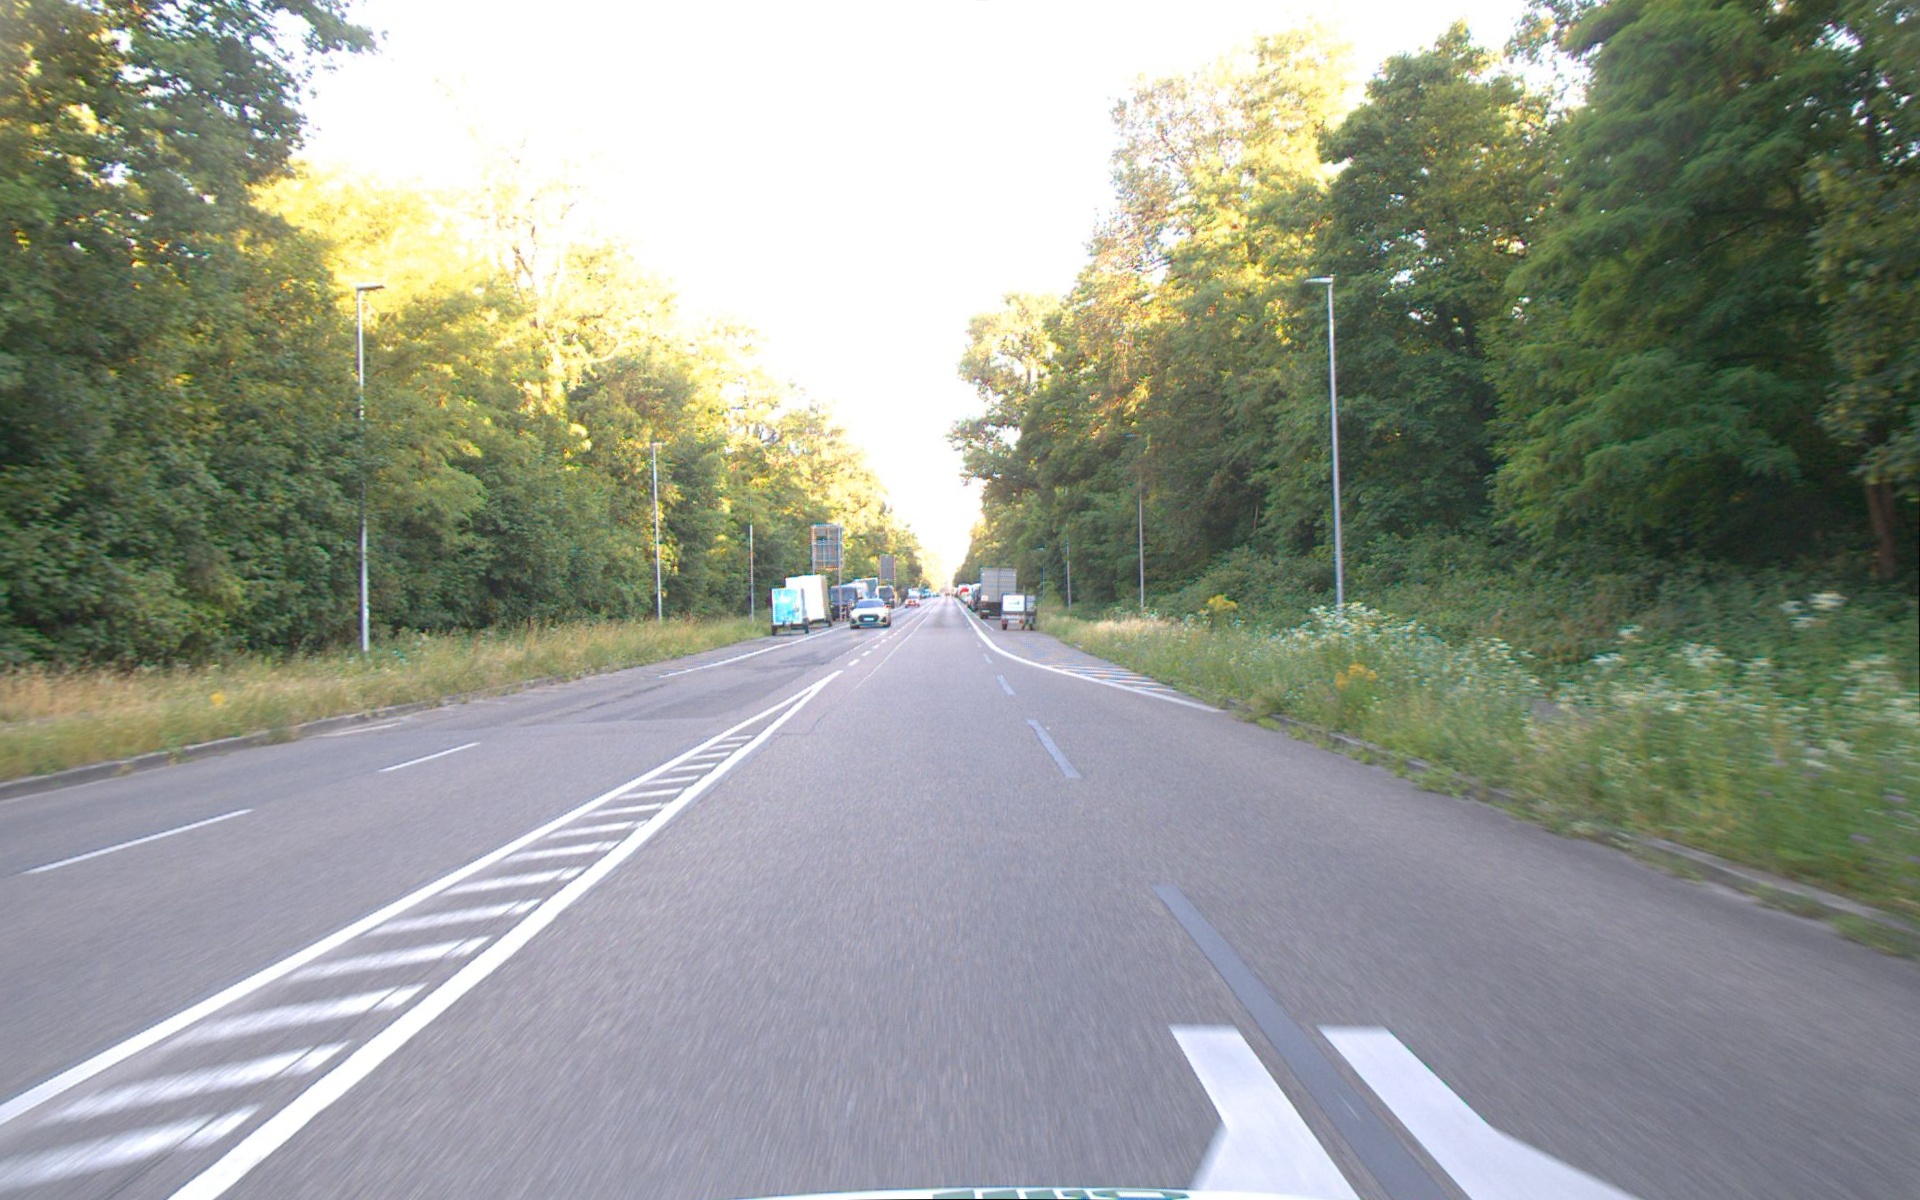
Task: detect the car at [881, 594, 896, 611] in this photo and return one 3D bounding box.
[{"bbox_3d":[-9.306,0.317,216.319,1.666,2.048,3.999,-6,0,-1],"label":"car"}]

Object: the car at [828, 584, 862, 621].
[{"bbox_3d":[-8.094,0.134,116.783,1.953,2.405,5.765,-4,0,-1],"label":"car"}]

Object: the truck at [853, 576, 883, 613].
[{"bbox_3d":[-8.899,-0.526,160.172,2.453,3.386,6.841,-3,0,-1],"label":"truck"}]

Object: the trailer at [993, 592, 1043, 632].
[{"bbox_3d":[2.698,0.535,75.823,1.425,1.691,3.780,-2,0,15],"label":"trailer"}]

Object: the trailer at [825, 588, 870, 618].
[{"bbox_3d":[-8.749,0.240,129.071,1.922,2.192,3.930,-2,0,21],"label":"trailer"}]

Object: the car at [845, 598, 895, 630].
[{"bbox_3d":[-4.542,0.698,84.008,2.021,1.460,4.467,-4,0,2],"label":"car"}]

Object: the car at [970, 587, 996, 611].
[{"bbox_3d":[1.973,-0.080,142.357,1.954,1.989,4.297,0,0,-3],"label":"car"}]

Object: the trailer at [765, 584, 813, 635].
[{"bbox_3d":[-7.845,0.415,76.140,1.780,2.205,4.142,-2,0,-1],"label":"trailer"}]

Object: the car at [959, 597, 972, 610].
[{"bbox_3d":[0.626,0.396,181.123,1.125,1.272,2.753,-8,1,-3],"label":"car"}]

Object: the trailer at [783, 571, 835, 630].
[{"bbox_3d":[-8.323,0.016,91.743,2.279,2.974,5.625,-4,0,-1],"label":"trailer"}]

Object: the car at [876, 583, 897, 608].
[{"bbox_3d":[-8.656,-0.517,194.821,2.142,2.837,5.333,-3,0,-1],"label":"car"}]

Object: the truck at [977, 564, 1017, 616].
[{"bbox_3d":[2.414,-0.645,108.457,2.535,3.312,7.221,0,0,1],"label":"truck"}]

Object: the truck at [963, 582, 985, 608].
[{"bbox_3d":[1.466,-0.554,174.333,2.098,2.706,4.297,0,0,-3],"label":"truck"}]

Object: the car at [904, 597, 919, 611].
[{"bbox_3d":[-5.653,0.462,193.165,1.649,1.512,4.036,-2,0,-2],"label":"car"}]

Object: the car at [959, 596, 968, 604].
[{"bbox_3d":[0.522,0.012,256.979,1.398,1.243,3.411,2,0,-1],"label":"car"}]

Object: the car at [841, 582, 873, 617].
[{"bbox_3d":[-8.333,-0.068,134.604,2.203,2.693,5.720,-3,0,-1],"label":"car"}]
